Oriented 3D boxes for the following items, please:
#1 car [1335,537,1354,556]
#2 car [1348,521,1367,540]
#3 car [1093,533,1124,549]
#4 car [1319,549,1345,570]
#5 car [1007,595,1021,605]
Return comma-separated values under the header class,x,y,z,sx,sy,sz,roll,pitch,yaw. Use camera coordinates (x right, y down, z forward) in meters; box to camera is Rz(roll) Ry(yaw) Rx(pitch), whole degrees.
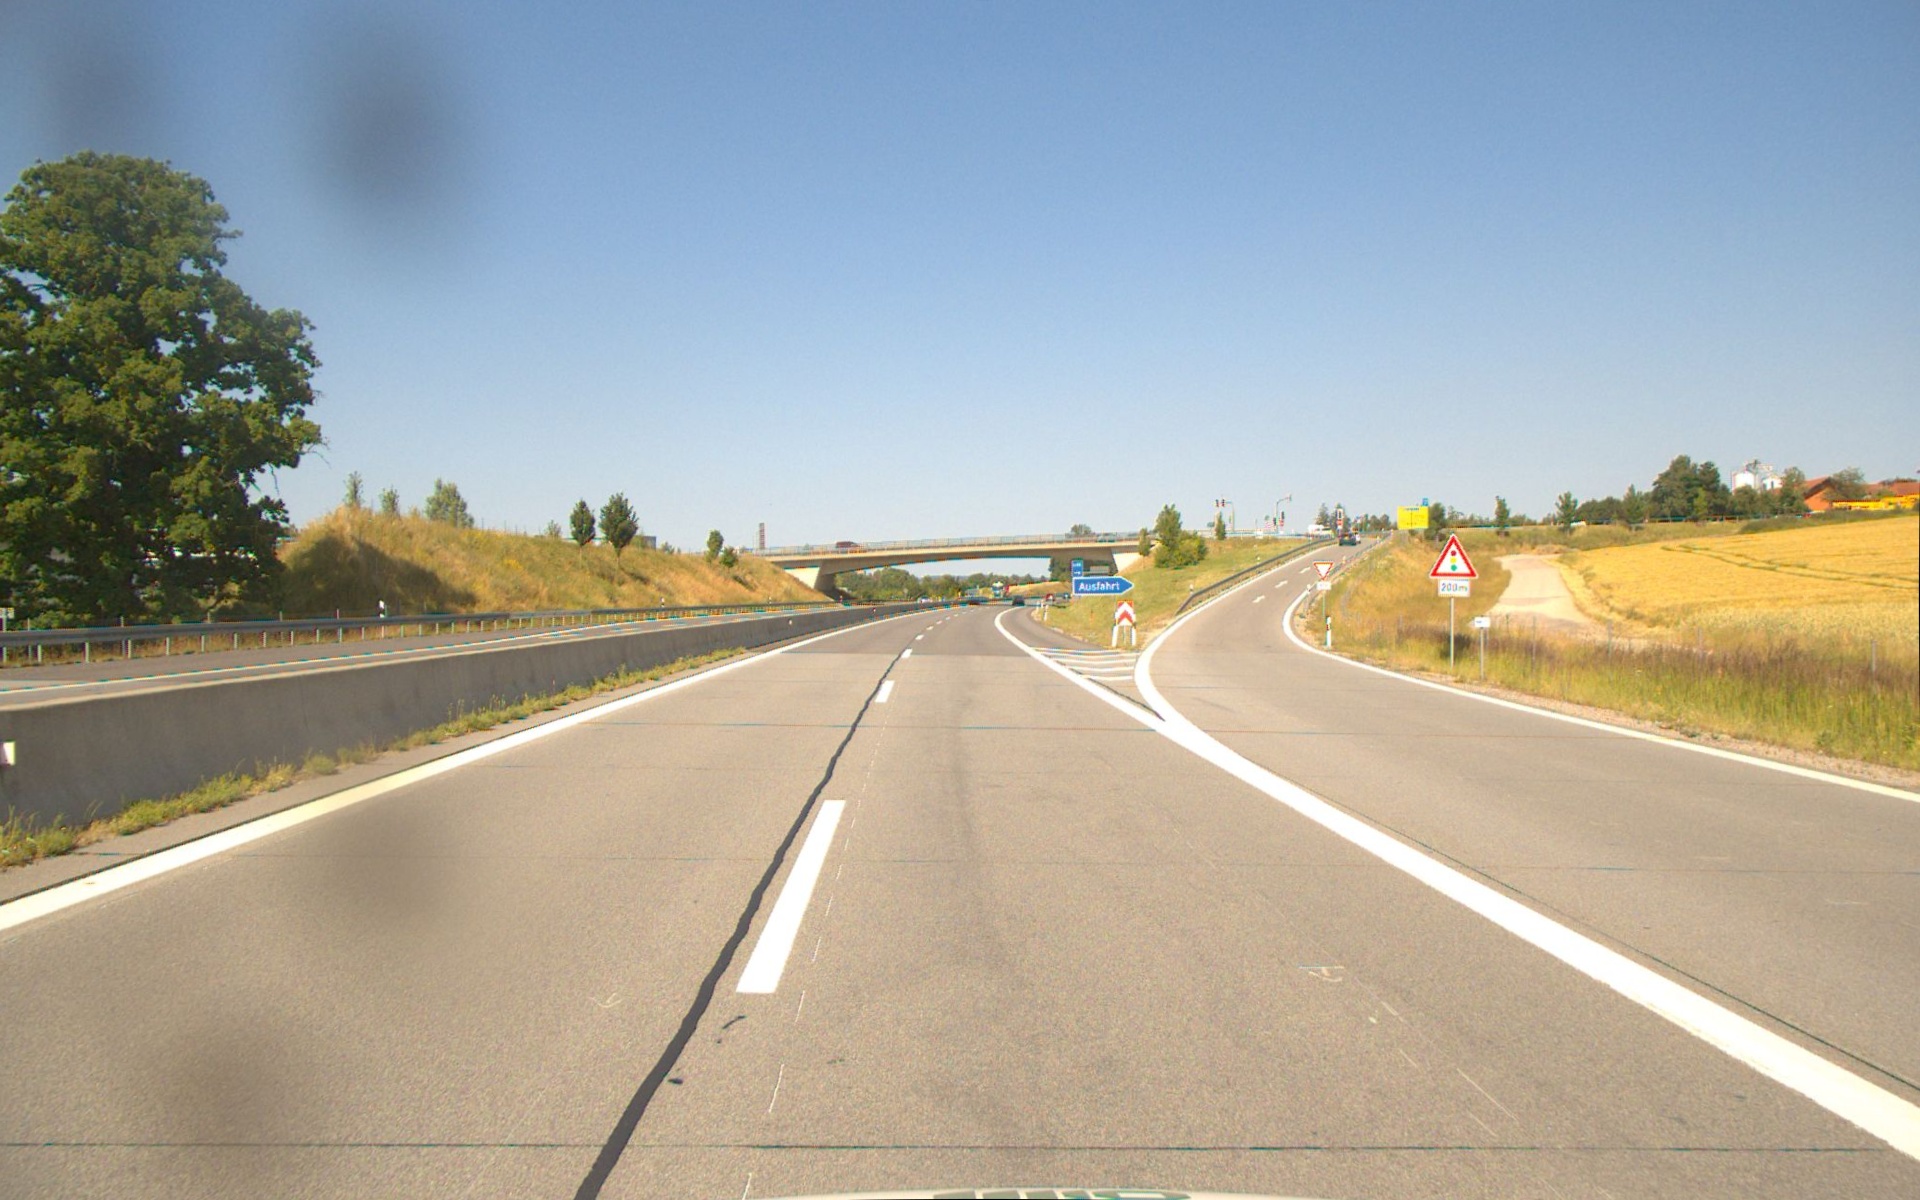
class,x,y,z,sx,sy,sz,roll,pitch,yaw
car,44.292,-6.178,190.494,1.951,2.049,4.003,-2,0,16
car,47.502,-8.331,197.696,1.951,2.049,4.003,-2,0,16
car,21.365,-8.501,237.584,4.162,2.056,2.000,-2,1,-1
car,31.950,-3.469,142.014,1.951,1.646,4.003,-2,0,16
car,8.208,-0.069,250.155,1.953,1.445,4.000,-2,0,0
